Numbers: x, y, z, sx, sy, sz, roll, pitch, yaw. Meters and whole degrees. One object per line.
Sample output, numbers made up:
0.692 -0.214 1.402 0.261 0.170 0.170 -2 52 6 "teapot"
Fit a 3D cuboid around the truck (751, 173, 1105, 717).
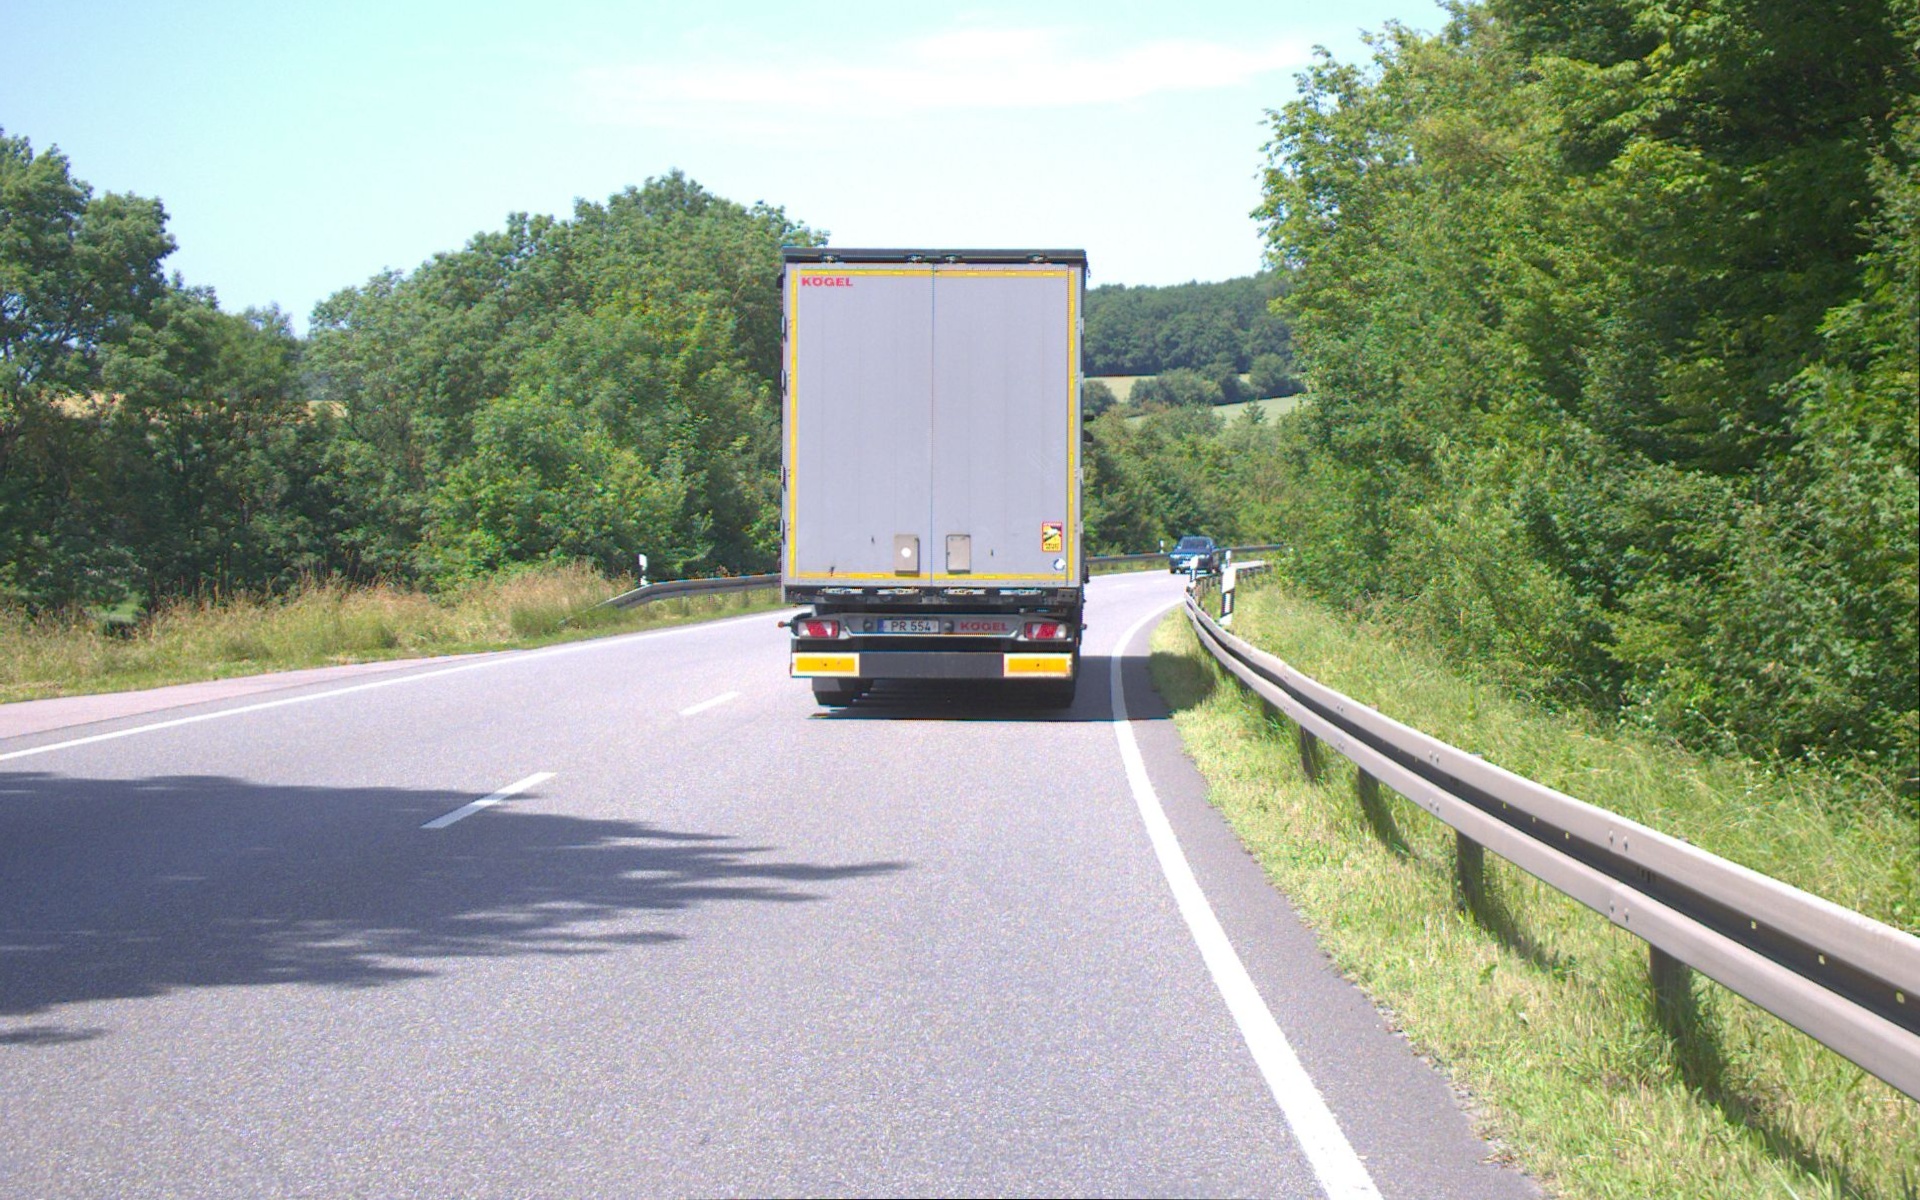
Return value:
-0.026 -1.401 34.643 2.818 4.517 11.767 1 1 3 "truck"
